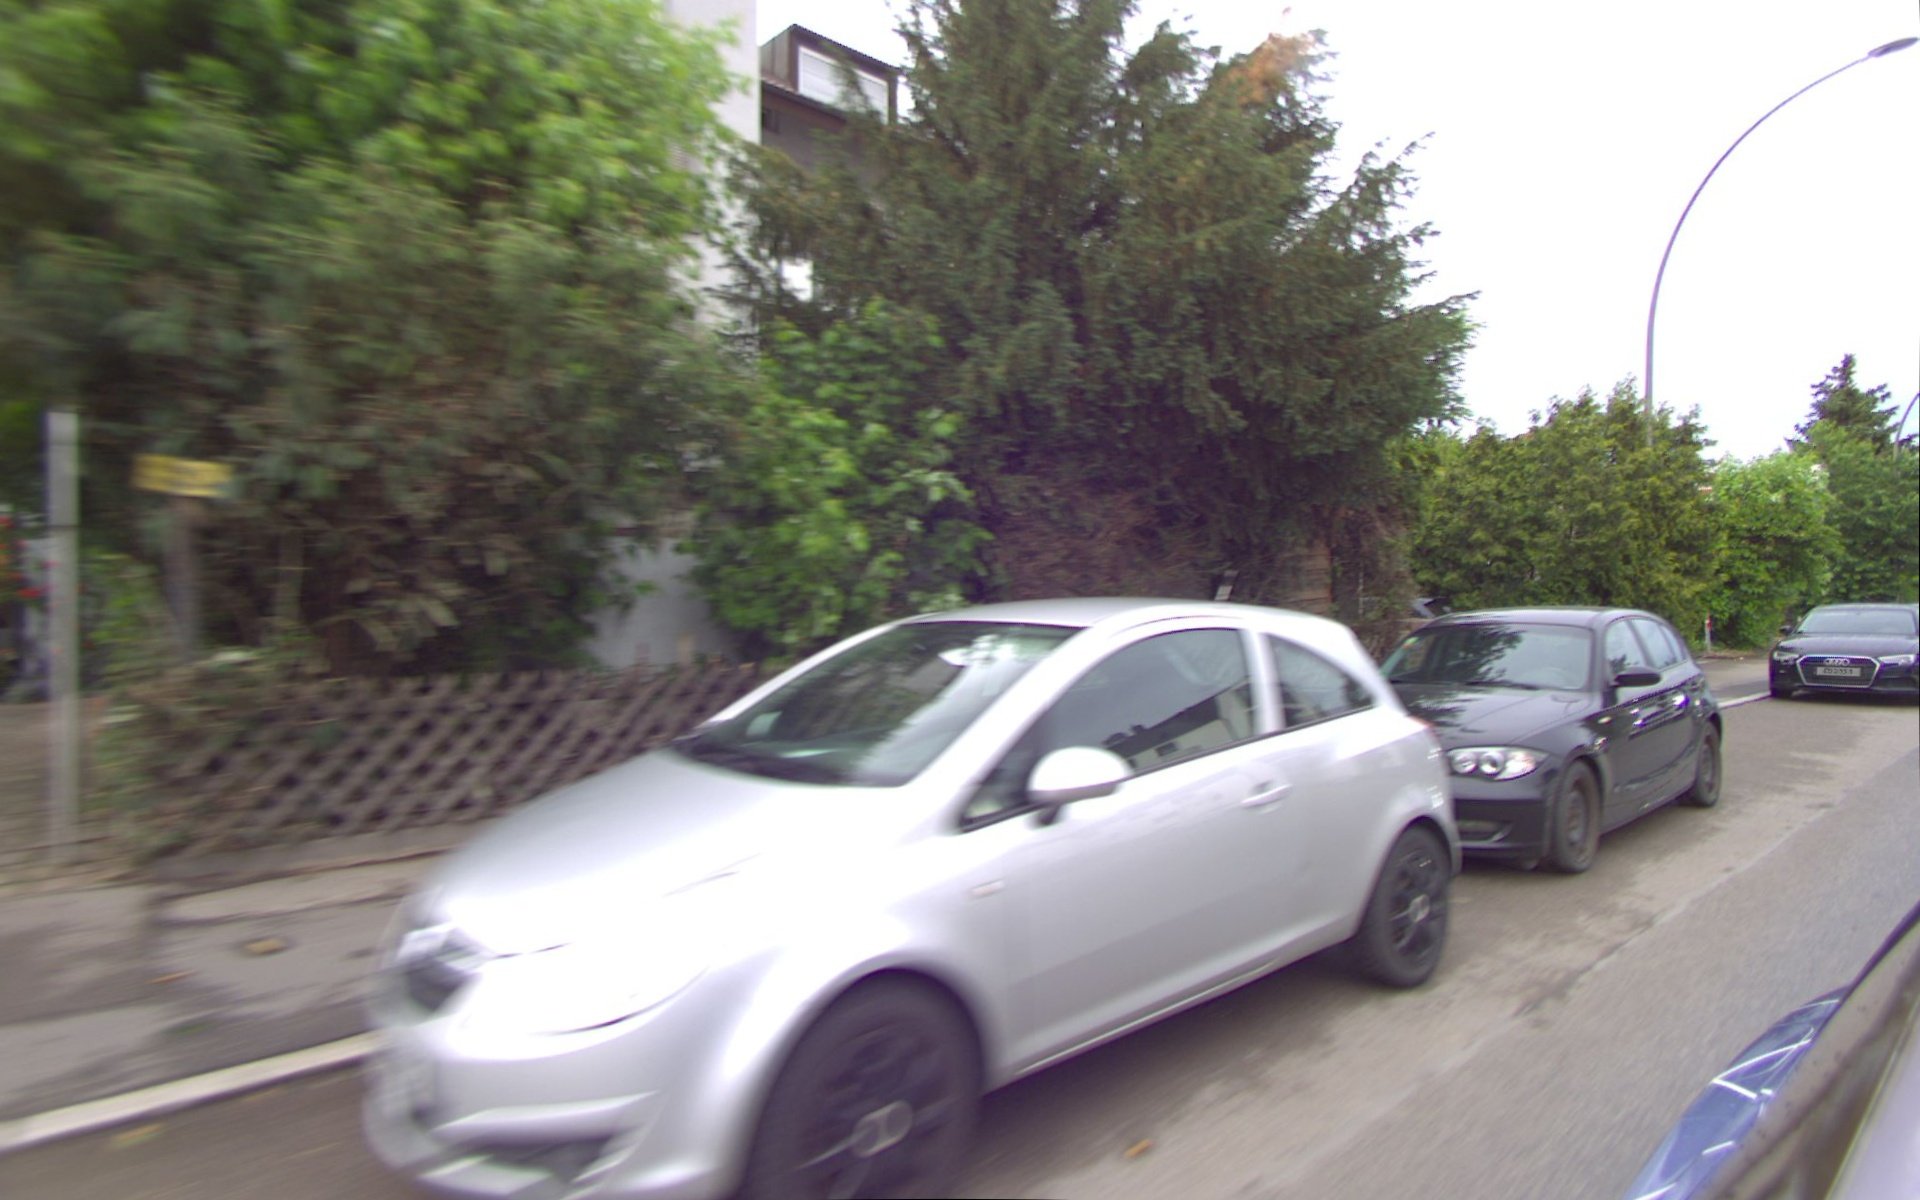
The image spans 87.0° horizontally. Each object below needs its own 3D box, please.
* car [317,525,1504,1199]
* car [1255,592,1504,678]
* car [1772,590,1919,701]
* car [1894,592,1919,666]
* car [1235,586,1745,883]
[{"bbox_3d":[0.118,0.641,3.500,3.810,1.521,1.741,0,-1,-38],"label":"car"},{"bbox_3d":[7.771,0.641,19.061,1.669,1.448,3.995,0,-2,-38],"label":"car"},{"bbox_3d":[13.830,0.593,15.229,4.037,1.436,1.755,0,2,-40],"label":"car"},{"bbox_3d":[21.039,0.594,21.318,3.974,1.458,1.655,0,2,-42],"label":"car"},{"bbox_3d":[3.637,0.647,6.711,3.652,1.421,1.741,0,-1,-40],"label":"car"}]
